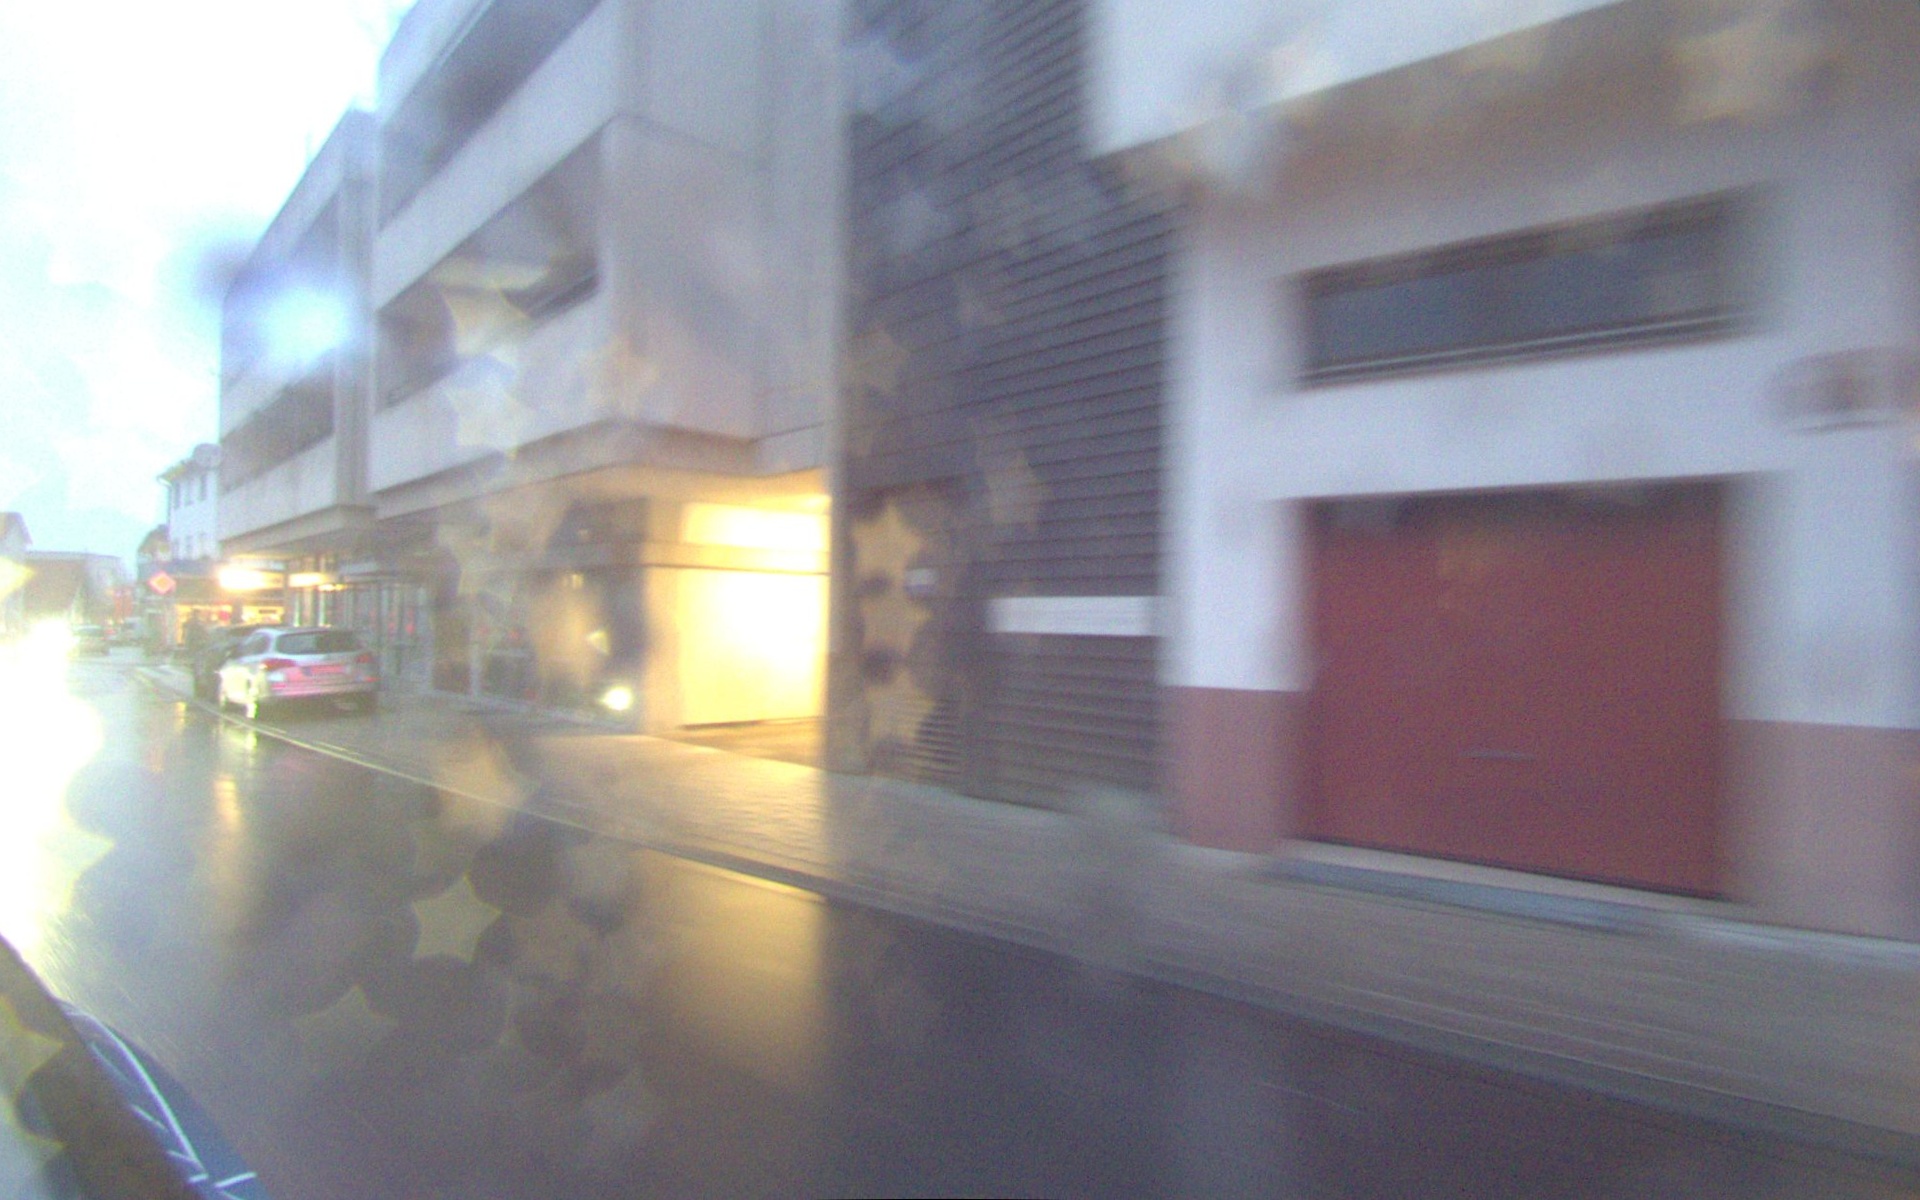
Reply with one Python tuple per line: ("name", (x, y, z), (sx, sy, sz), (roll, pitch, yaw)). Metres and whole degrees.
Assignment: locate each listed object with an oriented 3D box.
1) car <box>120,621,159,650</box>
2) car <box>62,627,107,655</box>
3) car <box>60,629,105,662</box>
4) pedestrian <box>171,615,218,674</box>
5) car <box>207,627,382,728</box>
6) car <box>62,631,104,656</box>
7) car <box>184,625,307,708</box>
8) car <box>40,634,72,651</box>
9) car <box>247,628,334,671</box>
("car", (-79.450, 3.407, 98.047), (2.013, 2.680, 4.223), (-2, -1, -28))
("car", (-63.567, 2.969, 73.542), (1.854, 1.914, 4.846), (-1, -2, -34))
("car", (-46.805, 2.395, 53.974), (1.700, 1.626, 3.820), (-2, 0, -42))
("pedestrian", (-25.891, 1.512, 34.251), (1.182, 1.953, 0.979), (2, -3, -36))
("car", (-11.590, 1.229, 17.490), (1.656, 1.457, 4.430), (-2, 0, -45))
("car", (-57.475, 2.827, 66.373), (1.771, 1.467, 4.403), (-1, -1, -38))
("car", (-15.104, 1.321, 21.320), (1.596, 1.544, 3.932), (-1, -1, -43))
("car", (-85.198, 3.962, 95.401), (1.770, 1.522, 4.010), (3, -3, -35))
("car", (-25.009, 1.879, 37.733), (4.451, 1.511, 1.744), (-4, -5, 44))
